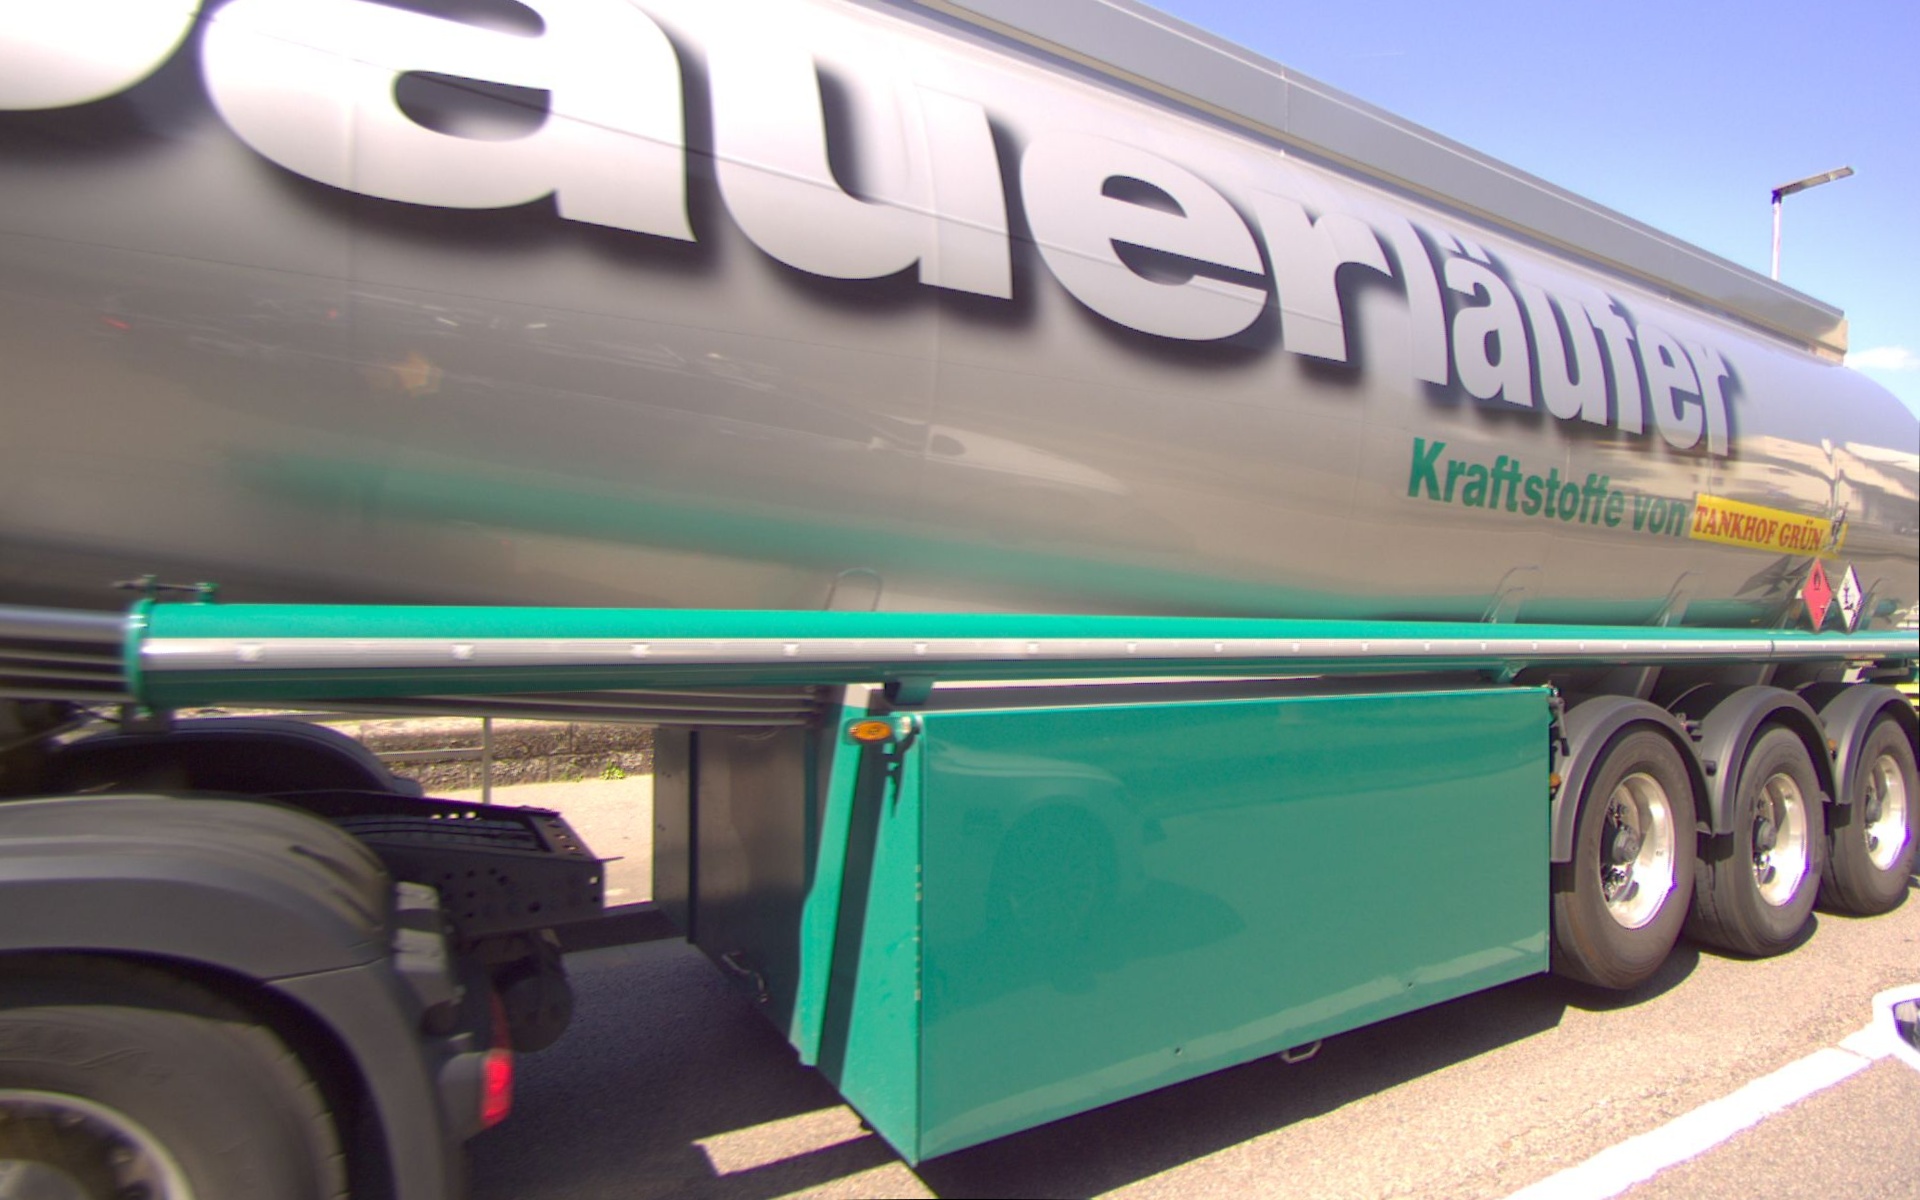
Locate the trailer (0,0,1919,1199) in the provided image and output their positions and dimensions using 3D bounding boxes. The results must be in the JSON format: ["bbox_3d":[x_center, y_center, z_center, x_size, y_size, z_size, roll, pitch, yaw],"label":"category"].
[{"bbox_3d":[0.969,-0.277,4.300,11.399,3.692,2.511,1,-1,-31],"label":"trailer"}]

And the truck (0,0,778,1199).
[{"bbox_3d":[-3.630,-0.400,1.478,6.172,3.798,2.512,1,-2,-30],"label":"truck"}]

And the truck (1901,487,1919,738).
[{"bbox_3d":[16.277,0.148,14.578,7.537,3.304,2.360,0,-2,-36],"label":"truck"}]
